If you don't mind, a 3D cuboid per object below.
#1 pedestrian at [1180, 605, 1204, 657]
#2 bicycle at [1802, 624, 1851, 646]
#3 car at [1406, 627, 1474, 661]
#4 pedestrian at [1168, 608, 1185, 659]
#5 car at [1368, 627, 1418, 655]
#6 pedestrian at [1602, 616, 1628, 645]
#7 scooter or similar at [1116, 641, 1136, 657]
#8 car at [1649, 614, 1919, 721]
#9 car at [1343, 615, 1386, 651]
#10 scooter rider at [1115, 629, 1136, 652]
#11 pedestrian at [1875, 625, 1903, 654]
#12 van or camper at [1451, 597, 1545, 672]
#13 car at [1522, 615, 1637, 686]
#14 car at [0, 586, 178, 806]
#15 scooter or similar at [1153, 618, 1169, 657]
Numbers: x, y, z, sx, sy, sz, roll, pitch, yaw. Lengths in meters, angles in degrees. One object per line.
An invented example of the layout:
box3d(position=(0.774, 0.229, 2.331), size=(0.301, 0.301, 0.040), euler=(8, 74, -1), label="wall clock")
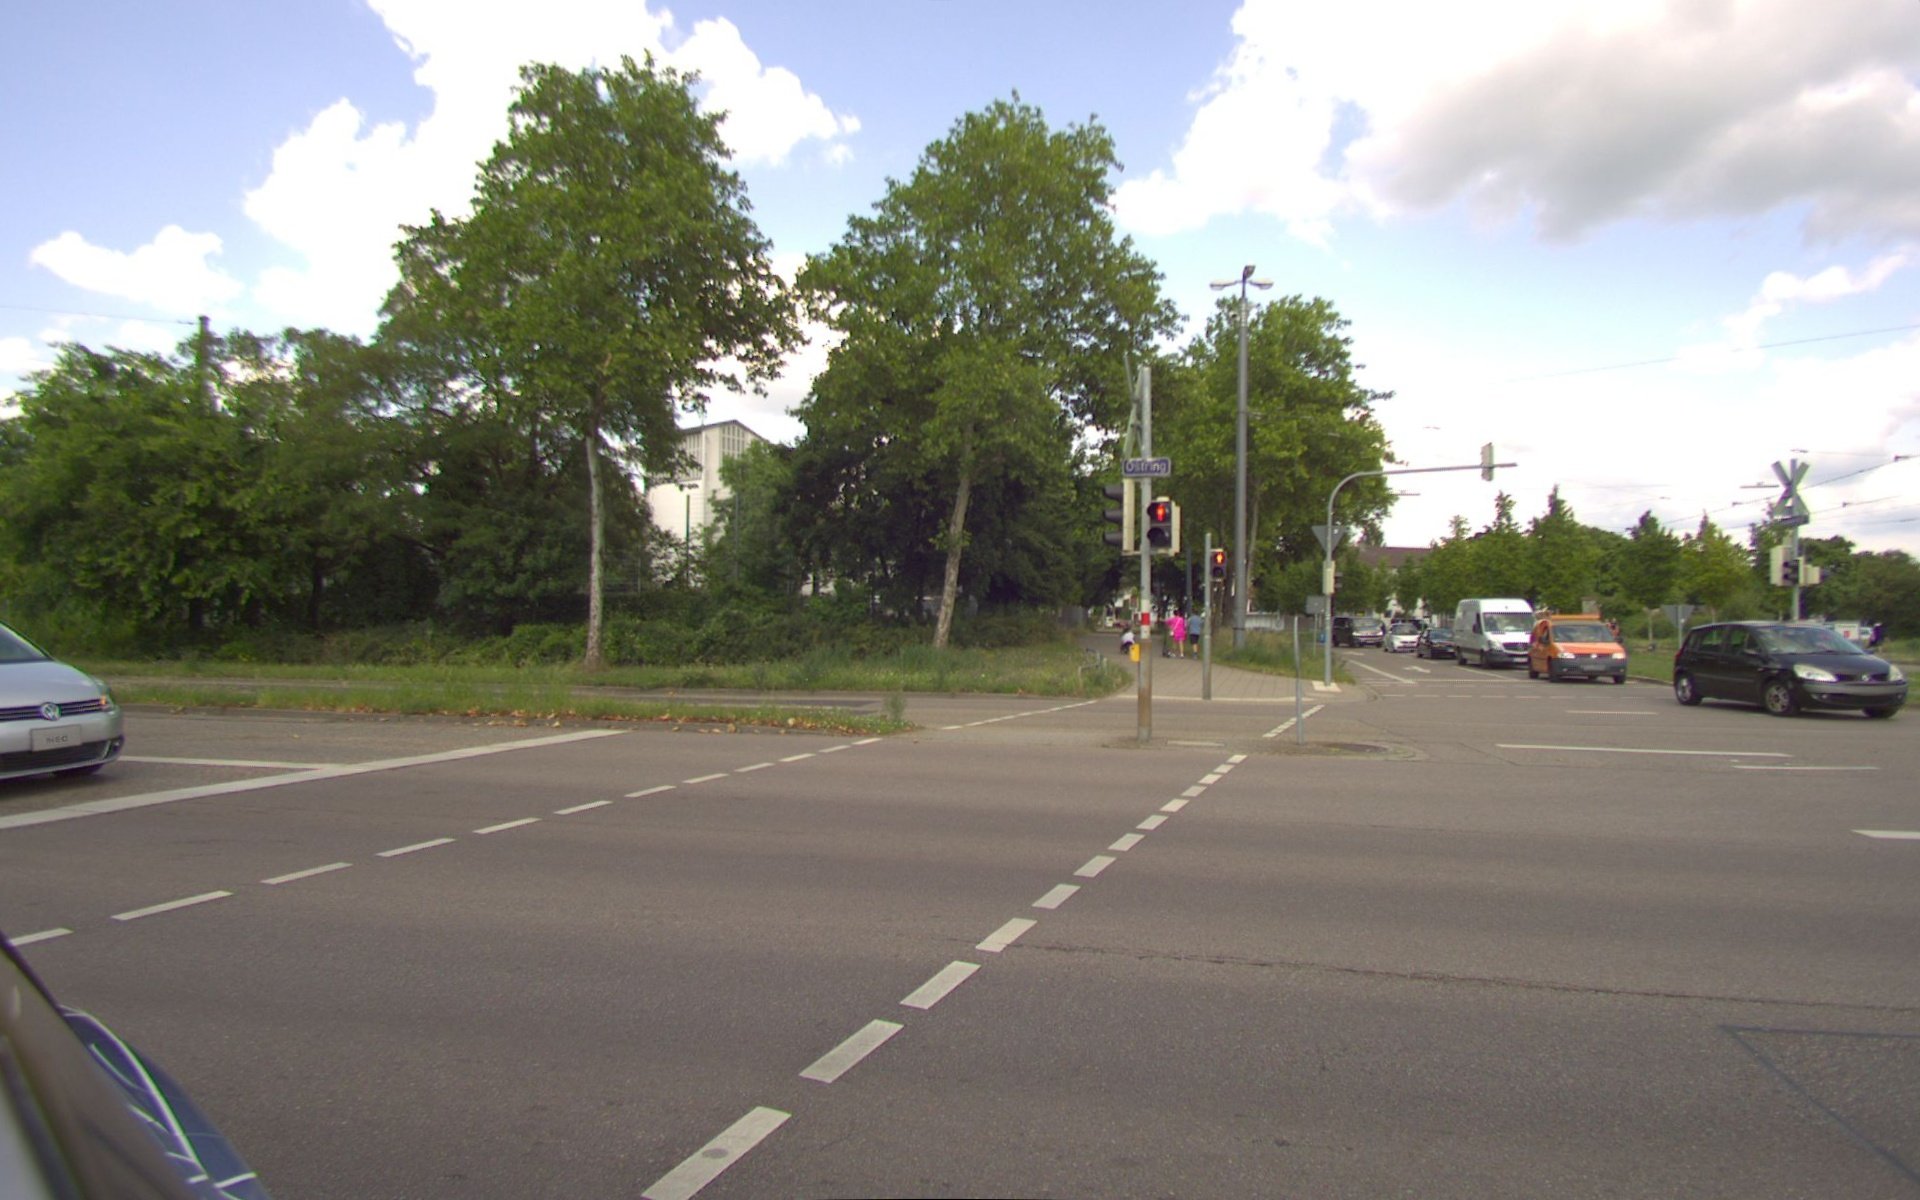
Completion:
box3d(position=(7.340, 0.979, 31.982), size=(0.628, 1.631, 0.606), euler=(-1, -2, 22), label="pedestrian")
box3d(position=(43.881, 1.765, 51.301), size=(0.940, 1.048, 1.979), euler=(0, -1, 8), label="bicycle")
box3d(position=(21.677, 1.982, 45.852), size=(1.793, 1.442, 4.451), euler=(0, -2, 12), label="car")
box3d(position=(6.957, 1.080, 32.546), size=(0.419, 1.631, 0.592), euler=(-1, -2, 22), label="pedestrian")
box3d(position=(23.478, 2.194, 55.016), size=(1.794, 1.442, 4.363), euler=(0, -1, 14), label="car")
box3d(position=(46.207, 2.166, 71.443), size=(1.093, 2.029, 1.174), euler=(0, -1, 7), label="pedestrian")
box3d(position=(5.527, 1.626, 33.672), size=(0.605, 0.515, 0.854), euler=(-2, -2, 14), label="scooter or similar")
box3d(position=(14.350, 1.094, 17.678), size=(1.710, 1.643, 4.054), euler=(0, -1, -2), label="car")
box3d(position=(25.332, 2.052, 63.514), size=(1.837, 2.172, 4.363), euler=(0, -1, 14), label="car")
box3d(position=(5.518, 1.332, 33.687), size=(0.606, 0.734, 0.855), euler=(-2, -2, 14), label="scooter rider")
box3d(position=(45.277, 1.919, 49.348), size=(0.644, 1.364, 0.749), euler=(-2, -2, 13), label="pedestrian")
box3d(position=(19.892, 1.246, 37.703), size=(1.965, 2.543, 6.002), euler=(0, -1, 17), label="van or camper")
box3d(position=(17.202, 1.343, 28.321), size=(1.870, 1.813, 4.341), euler=(0, -1, 20), label="car")
box3d(position=(-9.353, 0.725, 8.598), size=(4.457, 1.664, 1.923), euler=(0, 0, 13), label="car")
box3d(position=(6.510, 1.206, 32.741), size=(0.320, 1.241, 0.769), euler=(-3, -2, 24), label="scooter or similar")
